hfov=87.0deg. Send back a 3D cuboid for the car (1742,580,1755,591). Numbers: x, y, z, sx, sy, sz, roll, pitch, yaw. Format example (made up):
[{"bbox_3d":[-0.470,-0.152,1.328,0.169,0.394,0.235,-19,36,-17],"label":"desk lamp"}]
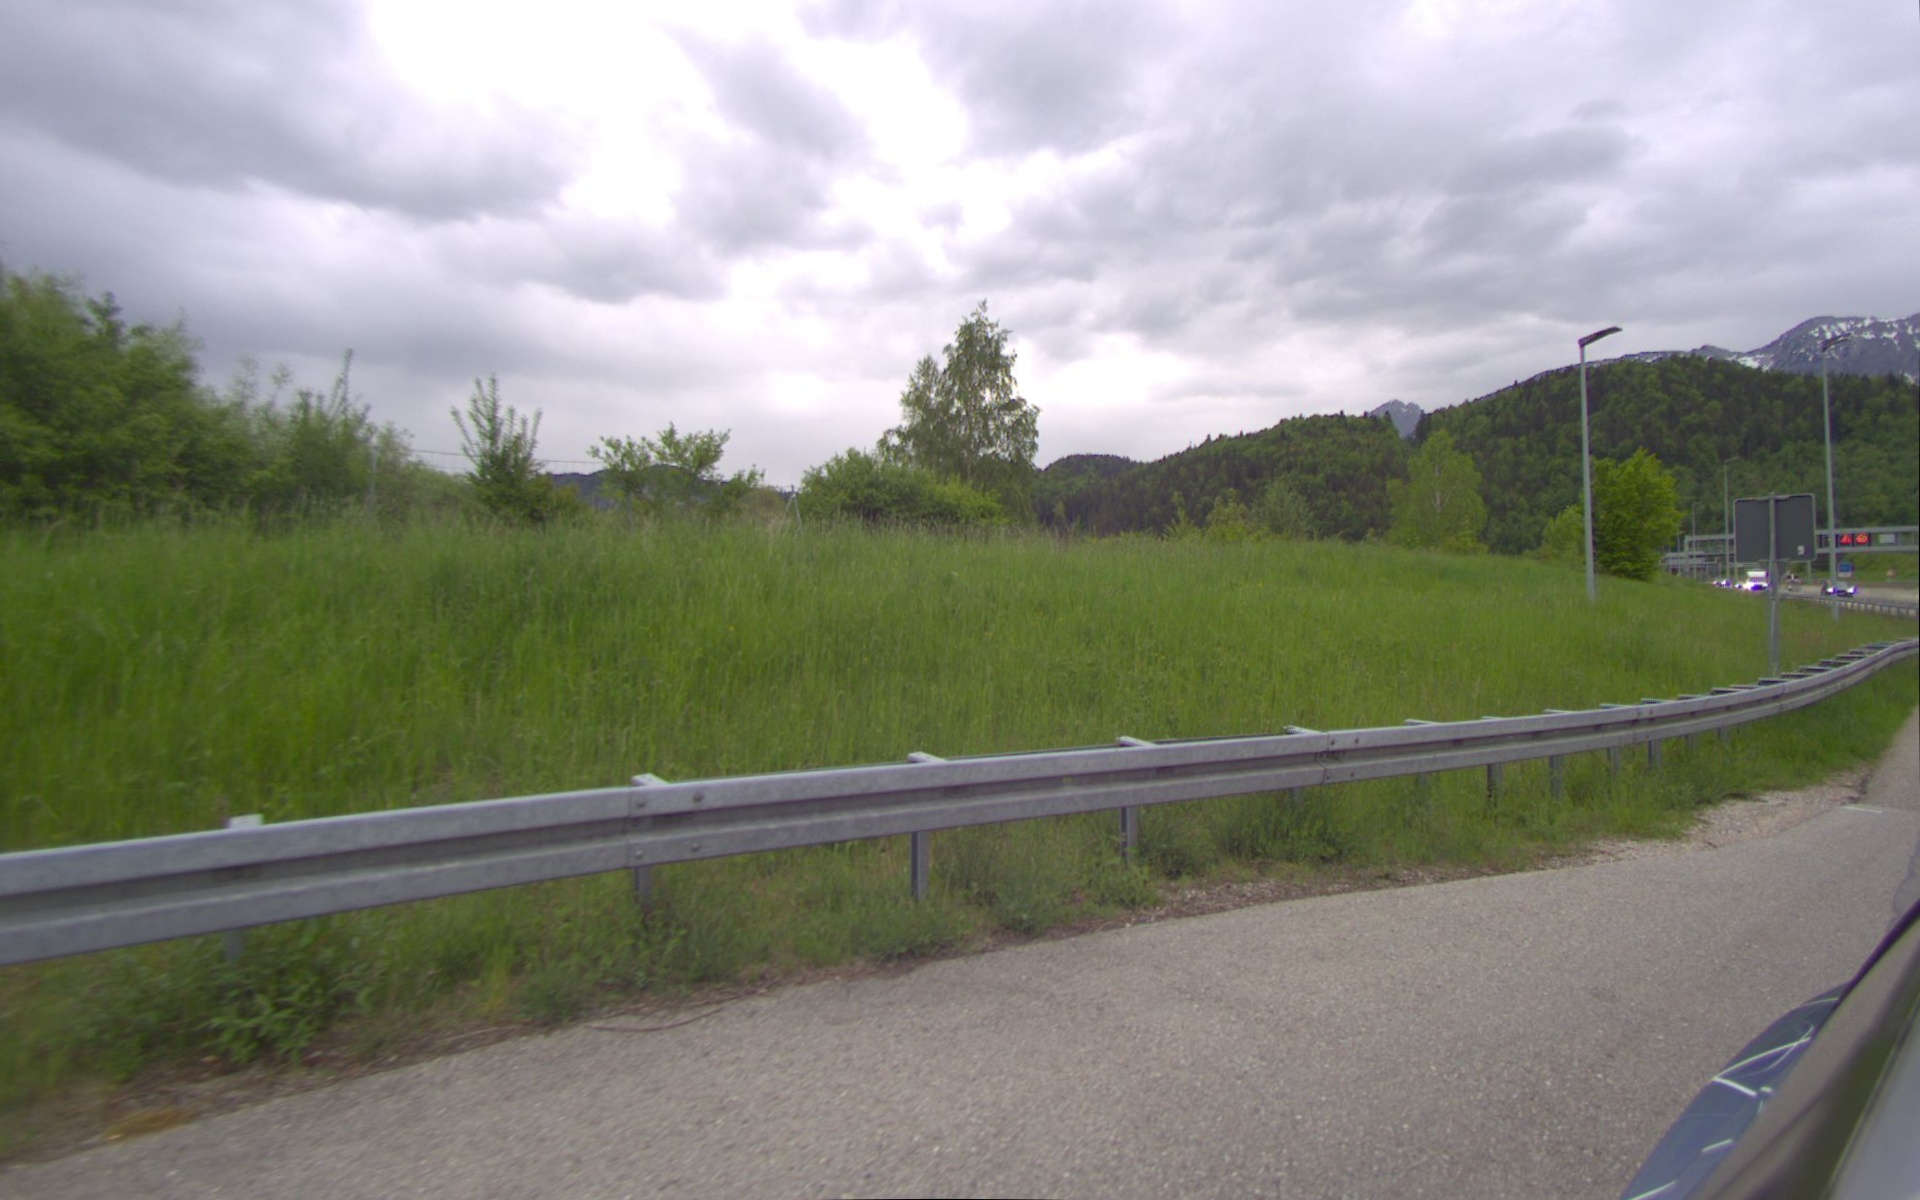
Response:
[{"bbox_3d":[135.192,-2.493,173.528,1.623,1.719,3.448,1,1,38],"label":"car"}]

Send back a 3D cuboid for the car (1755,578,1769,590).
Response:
[{"bbox_3d":[119.394,-2.414,150.623,1.623,1.719,3.448,1,1,38],"label":"car"}]

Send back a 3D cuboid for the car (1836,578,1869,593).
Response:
[{"bbox_3d":[78.566,-1.280,89.115,1.654,1.354,3.746,1,1,34],"label":"car"}]
